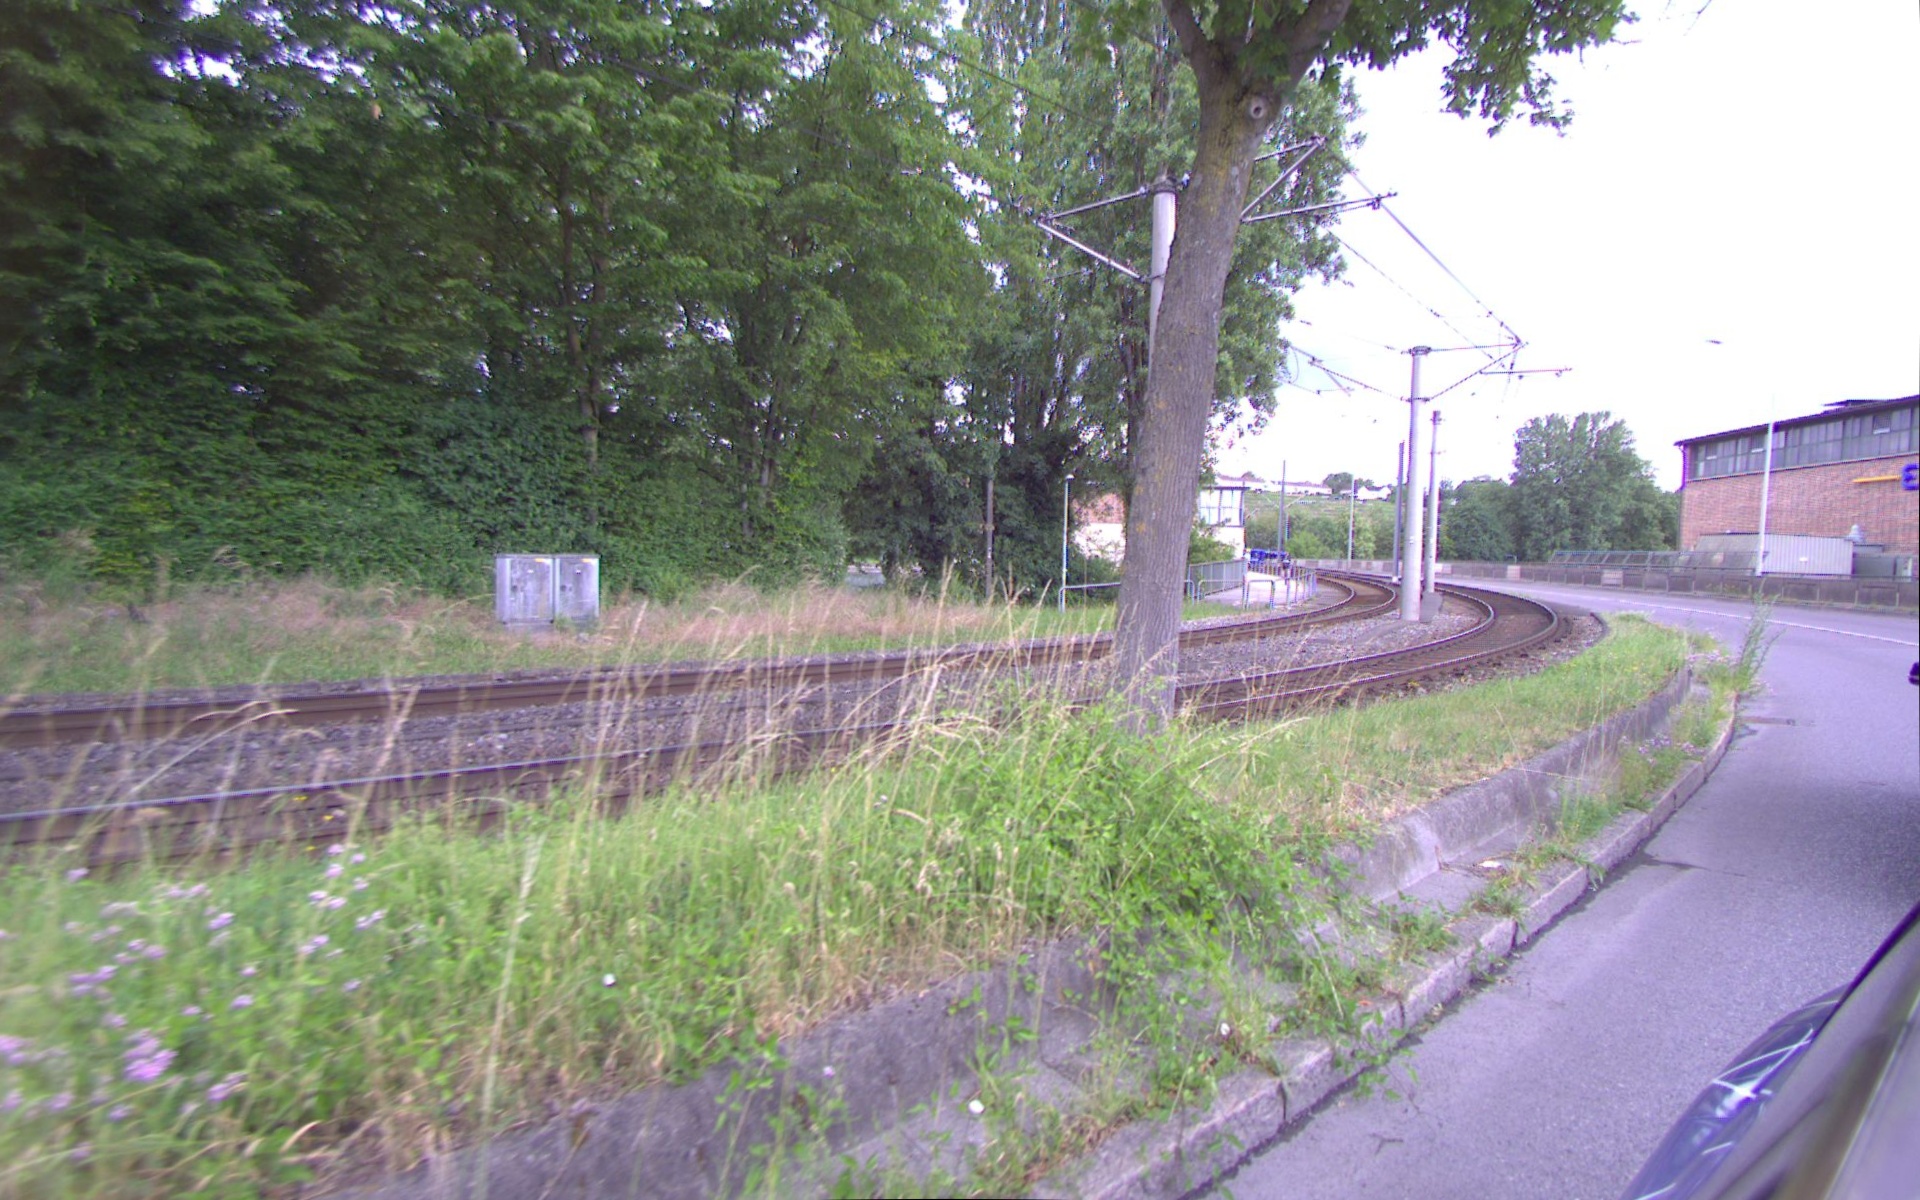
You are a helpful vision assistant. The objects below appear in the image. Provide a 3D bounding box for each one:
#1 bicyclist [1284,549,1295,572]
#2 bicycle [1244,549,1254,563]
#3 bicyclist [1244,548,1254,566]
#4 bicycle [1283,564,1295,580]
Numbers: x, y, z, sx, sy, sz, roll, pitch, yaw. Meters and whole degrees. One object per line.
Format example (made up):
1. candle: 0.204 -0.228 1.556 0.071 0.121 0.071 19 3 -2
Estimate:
1. bicyclist: 16.375 -1.958 50.332 0.413 1.097 0.470 2 2 27
2. bicycle: 22.037 -3.376 77.195 0.420 1.063 2.076 0 2 8
3. bicyclist: 22.038 -3.289 77.118 0.585 1.377 0.909 0 1 7
4. bicycle: 16.382 -1.409 50.375 0.345 0.804 1.533 2 2 27
